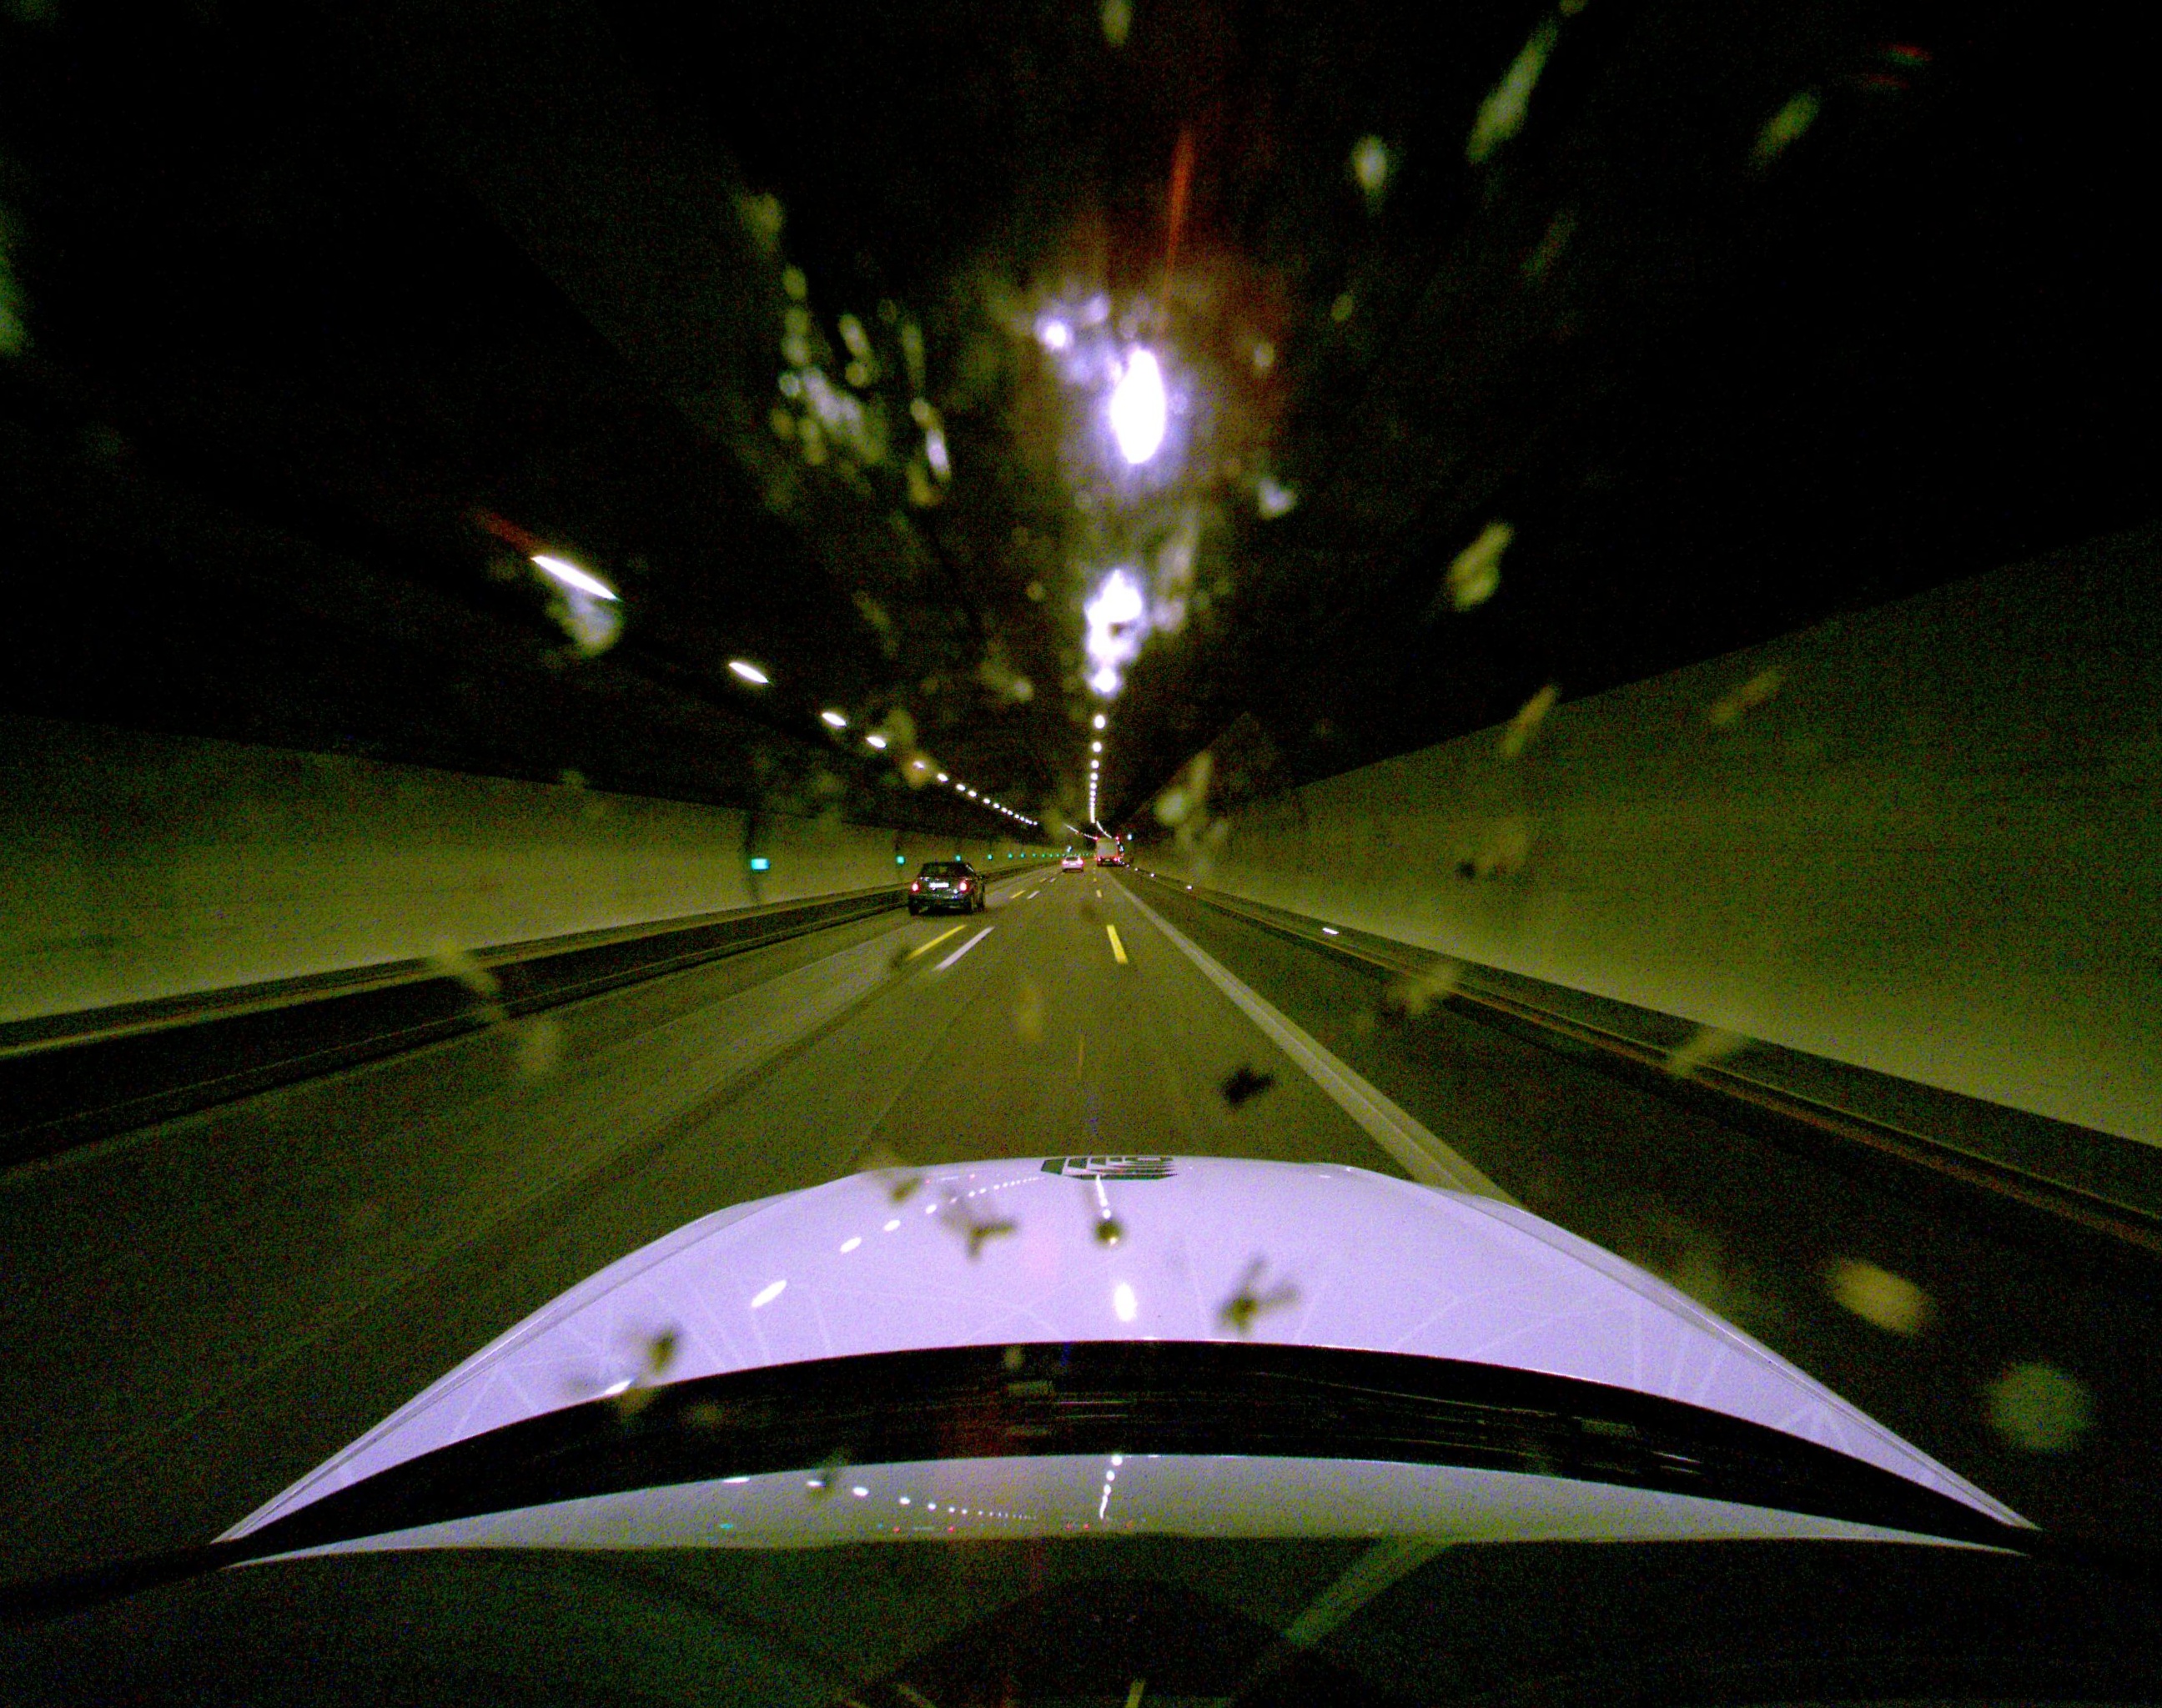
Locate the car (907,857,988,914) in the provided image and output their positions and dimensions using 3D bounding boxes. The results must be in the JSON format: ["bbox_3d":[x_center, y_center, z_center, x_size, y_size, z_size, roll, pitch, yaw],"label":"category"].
[{"bbox_3d":[-3.648,0.825,22.917,1.684,1.417,3.921,-1,0,-1],"label":"car"}]

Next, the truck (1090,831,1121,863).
[{"bbox_3d":[3.060,-0.843,100.114,3.579,3.650,10.727,-1,0,2],"label":"truck"}]

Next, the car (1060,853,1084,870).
[{"bbox_3d":[-0.797,0.625,71.399,1.988,1.413,4.739,-1,0,-2],"label":"car"}]
